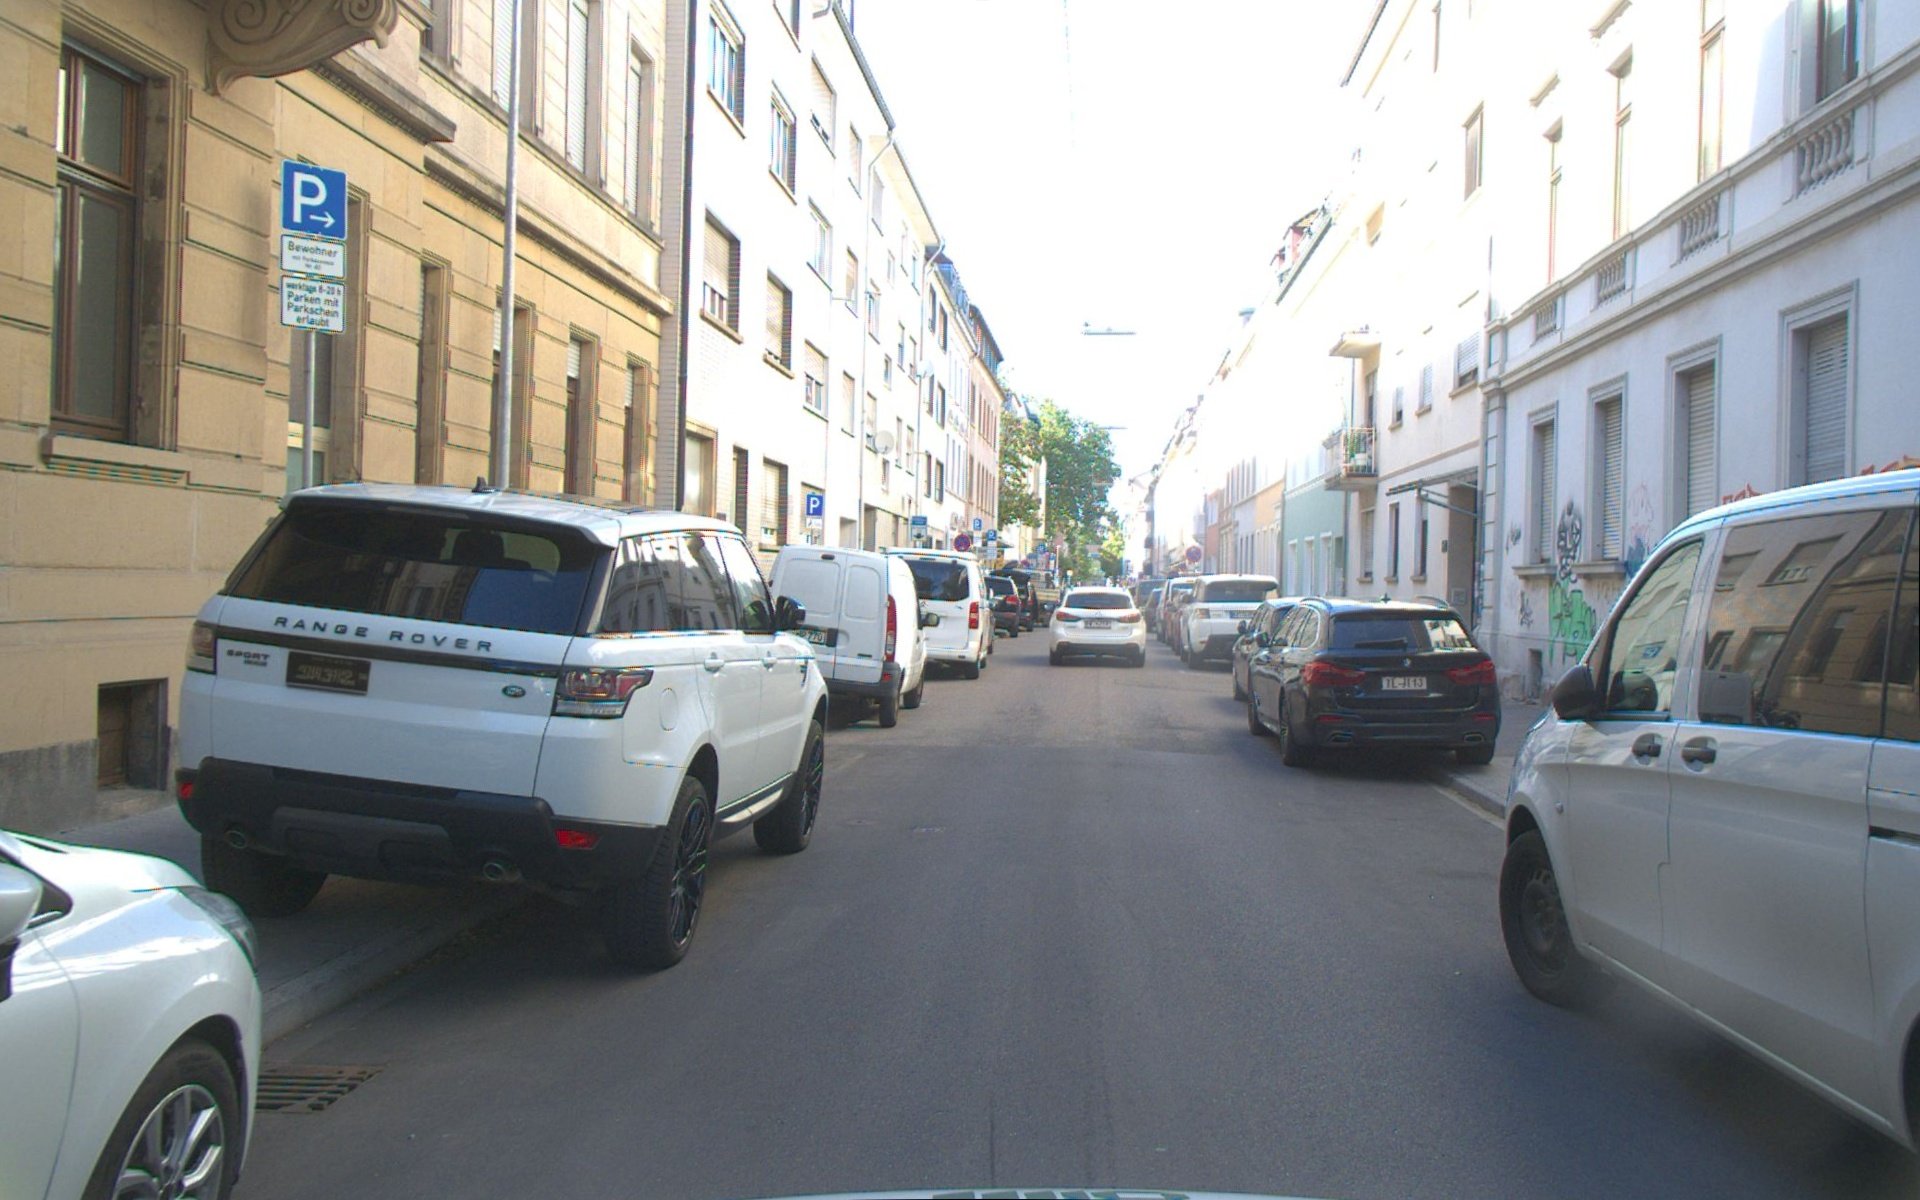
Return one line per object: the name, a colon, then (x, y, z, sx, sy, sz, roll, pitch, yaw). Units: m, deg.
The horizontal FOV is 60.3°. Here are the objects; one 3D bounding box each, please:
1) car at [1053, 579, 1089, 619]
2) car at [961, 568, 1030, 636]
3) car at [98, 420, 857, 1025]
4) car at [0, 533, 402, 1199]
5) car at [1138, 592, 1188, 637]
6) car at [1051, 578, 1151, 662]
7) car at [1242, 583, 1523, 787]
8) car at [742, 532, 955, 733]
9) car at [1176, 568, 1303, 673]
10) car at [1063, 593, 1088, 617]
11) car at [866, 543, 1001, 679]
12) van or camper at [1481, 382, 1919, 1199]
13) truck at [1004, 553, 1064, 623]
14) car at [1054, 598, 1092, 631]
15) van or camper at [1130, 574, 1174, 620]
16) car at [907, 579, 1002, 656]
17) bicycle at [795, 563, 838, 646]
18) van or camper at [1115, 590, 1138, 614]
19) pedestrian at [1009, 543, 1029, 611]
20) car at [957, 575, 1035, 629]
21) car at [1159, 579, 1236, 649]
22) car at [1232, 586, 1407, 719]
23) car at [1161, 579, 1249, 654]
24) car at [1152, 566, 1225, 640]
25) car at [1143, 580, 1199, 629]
car: (5.412, -0.057, 81.022, 1.613, 1.900, 4.001, 1, 0, 2)
car: (1.068, 0.027, 49.357, 1.841, 1.785, 4.544, 4, 1, 1)
car: (-1.839, 0.398, 8.021, 1.979, 2.049, 4.546, 1, 0, 5)
car: (-2.397, 0.637, 2.028, 1.828, 1.588, 3.944, 3, 0, 3)
car: (7.770, 0.512, 63.675, 1.705, 1.596, 4.035, 1, 1, 4)
car: (2.753, 0.367, 31.907, 1.795, 1.512, 4.059, 0, 0, 6)
car: (3.877, 0.671, 15.984, 1.777, 1.546, 4.731, 3, 1, 5)
car: (-1.158, 0.297, 19.031, 1.708, 1.908, 4.092, 5, 1, 5)
car: (5.297, 0.315, 31.913, 1.963, 1.814, 4.942, 1, 1, 5)
car: (8.241, 0.322, 117.765, 1.590, 1.625, 3.582, 2, 0, 5)
car: (-0.349, 0.131, 27.965, 1.855, 1.992, 4.783, 3, 1, 3)
van or camper: (3.117, 0.539, 4.760, 1.854, 2.048, 5.033, 1, 1, 3)
truck: (2.893, -0.411, 65.895, 2.112, 2.635, 6.249, 1, -1, 0)
car: (5.224, 0.657, 76.806, 1.721, 1.440, 4.002, -1, 0, 4)
van or camper: (9.031, -0.142, 78.119, 1.738, 2.072, 4.572, 0, 0, 3)
car: (-0.058, 0.340, 35.104, 1.671, 1.475, 4.304, 2, 0, 4)
bicycle: (-2.750, 0.077, 31.795, 0.545, 1.535, 1.801, 3, 0, 1)
van or camper: (14.158, 0.174, 140.820, 1.951, 1.959, 4.002, 1, -1, 5)
pedestrian: (1.985, -0.767, 55.851, 0.606, 2.268, 0.688, 1, -1, 5)
car: (1.322, 0.041, 58.462, 2.390, 1.735, 5.245, 2, 1, 5)
car: (6.125, 0.332, 43.041, 1.547, 1.660, 3.683, 3, 1, 2)
car: (4.671, 0.621, 21.979, 1.710, 1.473, 3.872, 3, 1, 5)
car: (5.621, 0.342, 38.278, 1.705, 1.596, 4.035, 1, 1, 4)
car: (6.559, 0.074, 47.834, 1.744, 1.996, 4.338, 1, 0, 4)
car: (7.357, 0.126, 57.875, 1.703, 1.604, 4.380, 1, 1, 5)
